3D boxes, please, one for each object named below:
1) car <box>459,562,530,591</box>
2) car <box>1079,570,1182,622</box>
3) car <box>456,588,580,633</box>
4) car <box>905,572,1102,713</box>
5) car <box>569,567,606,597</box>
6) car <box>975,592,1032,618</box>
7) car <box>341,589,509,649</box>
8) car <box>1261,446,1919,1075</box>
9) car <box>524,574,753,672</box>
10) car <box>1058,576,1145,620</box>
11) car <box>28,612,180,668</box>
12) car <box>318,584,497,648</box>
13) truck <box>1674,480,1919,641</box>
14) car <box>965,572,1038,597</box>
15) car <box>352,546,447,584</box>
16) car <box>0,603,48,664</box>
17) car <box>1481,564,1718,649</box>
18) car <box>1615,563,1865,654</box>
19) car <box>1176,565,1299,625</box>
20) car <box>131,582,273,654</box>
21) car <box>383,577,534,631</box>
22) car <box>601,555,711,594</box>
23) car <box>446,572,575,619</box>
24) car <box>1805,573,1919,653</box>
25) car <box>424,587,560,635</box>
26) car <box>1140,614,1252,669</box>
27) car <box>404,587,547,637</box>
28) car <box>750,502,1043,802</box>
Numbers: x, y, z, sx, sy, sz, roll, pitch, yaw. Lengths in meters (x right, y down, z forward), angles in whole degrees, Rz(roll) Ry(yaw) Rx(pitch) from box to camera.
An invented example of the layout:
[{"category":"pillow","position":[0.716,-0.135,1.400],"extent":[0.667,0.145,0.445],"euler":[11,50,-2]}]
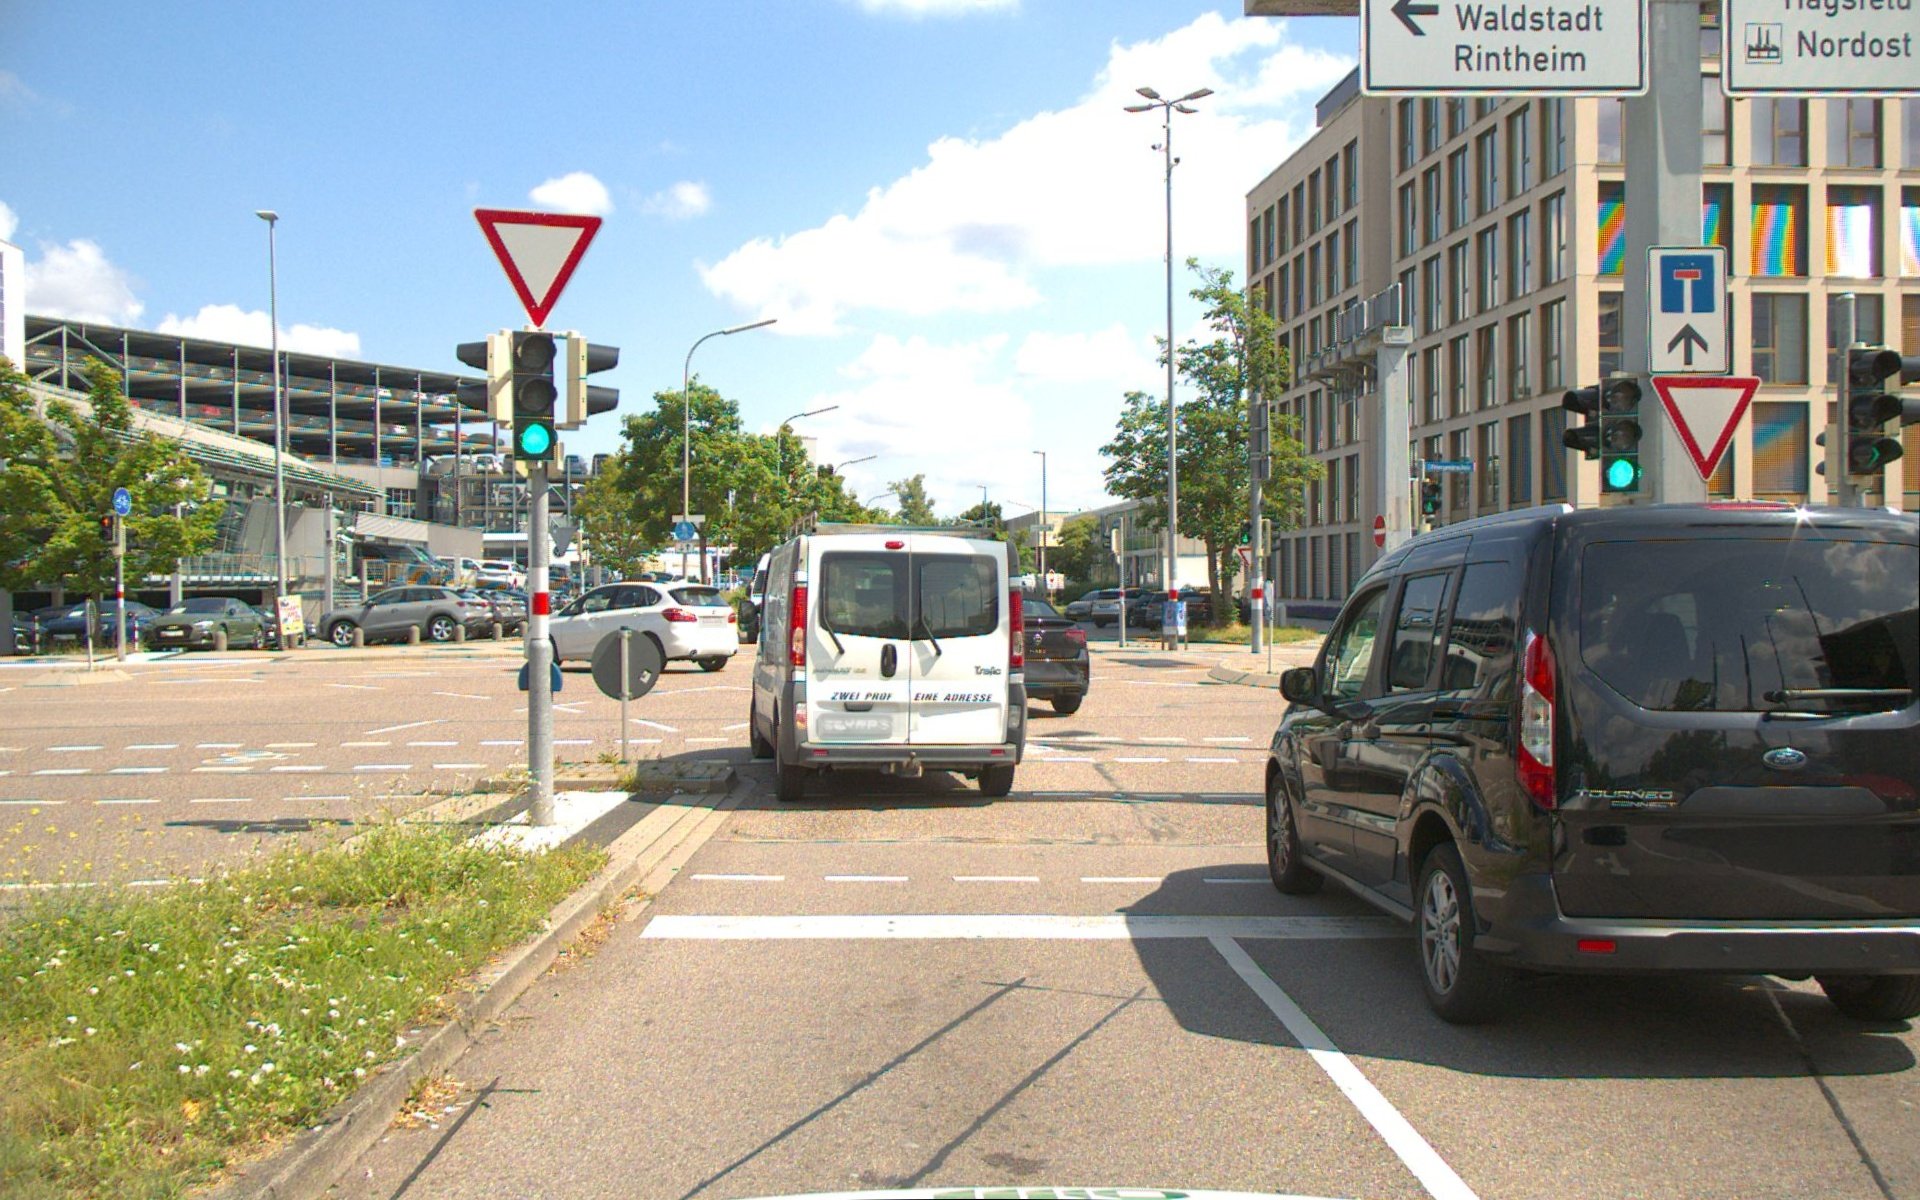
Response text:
[{"category":"car","position":[-27.707,-1.390,98.502],"extent":[3.918,1.579,1.759],"euler":[1,-1,-13]},{"category":"car","position":[7.157,-0.151,69.608],"extent":[3.913,2.049,1.996],"euler":[1,-1,-9]},{"category":"car","position":[-17.667,0.445,66.300],"extent":[4.485,1.707,1.905],"euler":[1,-1,-4]},{"category":"car","position":[0.462,0.504,21.500],"extent":[1.742,1.658,3.989],"euler":[0,0,-11]},{"category":"car","position":[-20.606,-0.977,91.554],"extent":[1.531,1.579,3.597],"euler":[1,-1,-6]},{"category":"car","position":[3.160,0.369,120.641],"extent":[3.913,1.780,1.996],"euler":[1,-1,-9]},{"category":"car","position":[-16.167,0.588,50.142],"extent":[4.485,1.707,1.905],"euler":[1,-1,-4]},{"category":"car","position":[2.608,0.503,7.138],"extent":[1.786,1.938,3.999],"euler":[0,0,-2]},{"category":"car","position":[-5.782,0.397,29.623],"extent":[3.917,1.646,1.772],"euler":[0,-1,34]},{"category":"car","position":[6.960,-0.073,81.466],"extent":[3.913,2.049,1.996],"euler":[1,-1,-9]},{"category":"car","position":[-21.904,1.003,42.534],"extent":[1.864,1.320,4.584],"euler":[1,-1,-6]},{"category":"car","position":[-15.795,0.464,47.485],"extent":[4.485,1.707,1.905],"euler":[1,-1,-4]},{"category":"truck","position":[22.371,-0.834,39.849],"extent":[9.569,3.617,2.670],"euler":[1,-1,-9]},{"category":"car","position":[3.635,-1.362,145.734],"extent":[6.214,2.049,2.571],"euler":[1,-1,-3]},{"category":"car","position":[-29.095,-1.794,85.923],"extent":[4.357,1.833,1.762],"euler":[1,-1,-7]},{"category":"car","position":[-26.215,0.908,42.361],"extent":[4.650,1.490,1.793],"euler":[-1,-3,-7]},{"category":"car","position":[15.019,0.176,38.979],"extent":[4.884,1.870,1.996],"euler":[1,-1,-9]},{"category":"car","position":[15.224,0.178,32.374],"extent":[4.120,1.655,1.824],"euler":[1,-1,-9]},{"category":"car","position":[9.908,-0.151,59.219],"extent":[3.913,2.049,1.996],"euler":[1,-1,-9]},{"category":"car","position":[-19.316,0.470,42.356],"extent":[1.864,1.707,4.584],"euler":[1,-1,-6]},{"category":"car","position":[-16.844,0.142,55.711],"extent":[4.485,1.707,1.905],"euler":[1,-1,-4]},{"category":"car","position":[-18.060,-1.495,98.589],"extent":[6.264,2.139,1.762],"euler":[1,-1,-6]},{"category":"car","position":[-17.243,-0.145,63.600],"extent":[4.485,1.707,1.905],"euler":[1,-1,-4]},{"category":"car","position":[20.831,0.310,35.874],"extent":[4.114,1.655,1.827],"euler":[1,-1,-3]},{"category":"car","position":[-17.172,0.393,60.885],"extent":[4.485,1.707,1.905],"euler":[0,0,-4]},{"category":"car","position":[9.125,1.582,64.109],"extent":[3.913,2.049,1.996],"euler":[1,-1,-9]},{"category":"car","position":[-17.007,0.419,58.252],"extent":[4.485,1.707,1.905],"euler":[0,0,-4]},{"category":"car","position":[-0.718,0.372,13.985],"extent":[1.937,2.096,4.554],"euler":[0,0,-9]}]
